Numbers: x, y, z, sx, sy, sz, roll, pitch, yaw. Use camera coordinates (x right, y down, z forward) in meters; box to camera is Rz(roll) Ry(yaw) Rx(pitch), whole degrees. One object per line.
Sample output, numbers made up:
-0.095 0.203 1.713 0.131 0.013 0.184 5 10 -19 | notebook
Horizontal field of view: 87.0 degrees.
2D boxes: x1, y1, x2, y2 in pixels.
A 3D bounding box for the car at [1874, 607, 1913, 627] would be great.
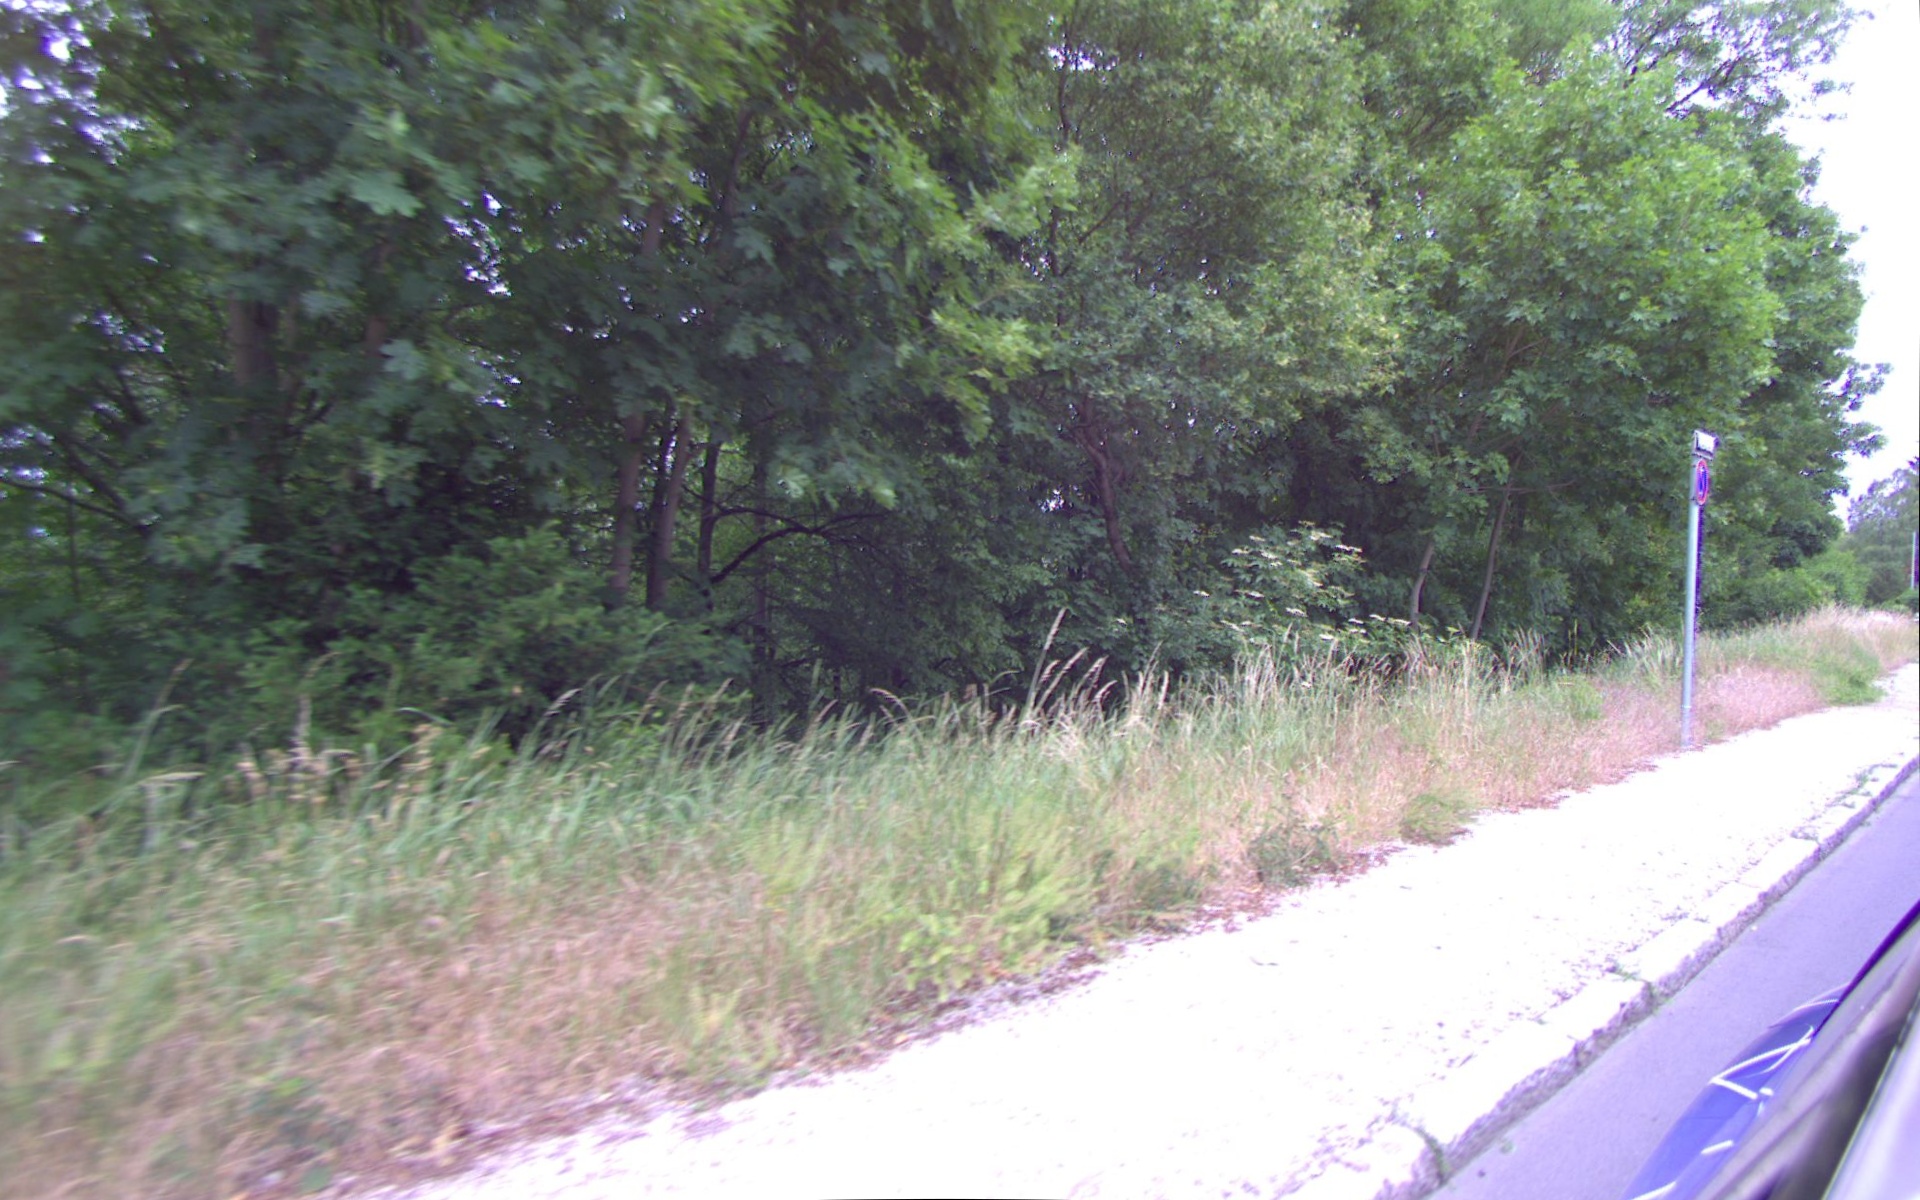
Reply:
78.055 1.404 84.642 1.699 1.530 3.901 1 0 32 | car
